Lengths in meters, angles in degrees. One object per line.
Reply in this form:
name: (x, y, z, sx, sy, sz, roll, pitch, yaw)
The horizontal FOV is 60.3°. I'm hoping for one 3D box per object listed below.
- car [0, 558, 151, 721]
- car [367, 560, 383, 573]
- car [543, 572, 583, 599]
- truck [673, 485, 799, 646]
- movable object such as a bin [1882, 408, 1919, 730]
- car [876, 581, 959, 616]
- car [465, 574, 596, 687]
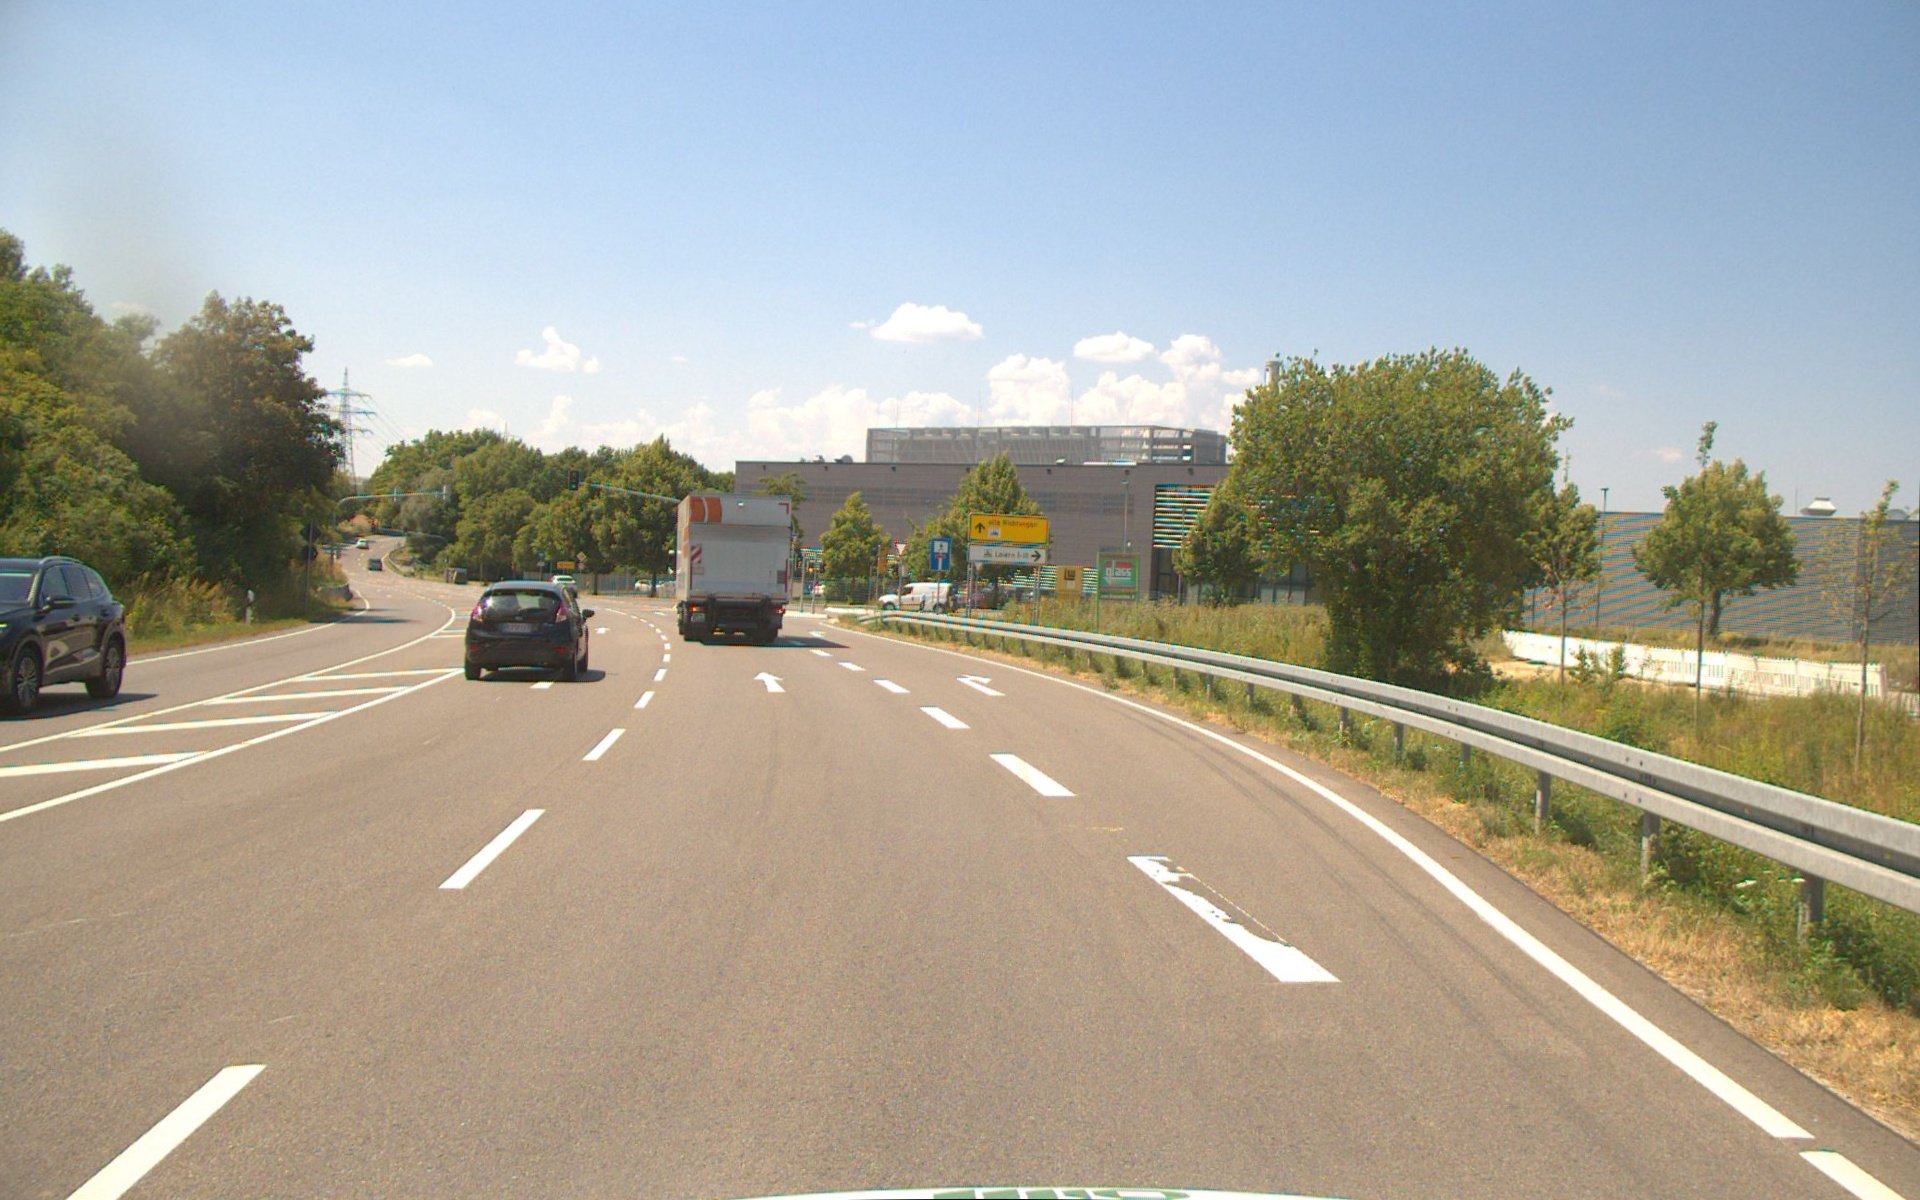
car: (-10.797, 0.355, 18.520, 1.958, 1.620, 4.669, 1, 0, -11)
car: (-82.093, -4.747, 232.017, 1.962, 1.713, 3.980, 1, 0, -18)
car: (-27.637, -1.017, 115.066, 1.919, 1.693, 3.970, 4, 0, -24)
truck: (-6.167, -0.928, 44.417, 2.753, 3.775, 9.084, 2, 1, -11)
movable object such as a bin: (18.137, -0.216, 23.768, 3.360, 5.350, 9.216, 3, 3, -8)
car: (-2.543, -0.119, 100.062, 4.644, 1.966, 2.155, 2, 0, 10)
car: (-6.765, 0.426, 26.374, 1.623, 1.519, 4.199, 2, 2, -10)
